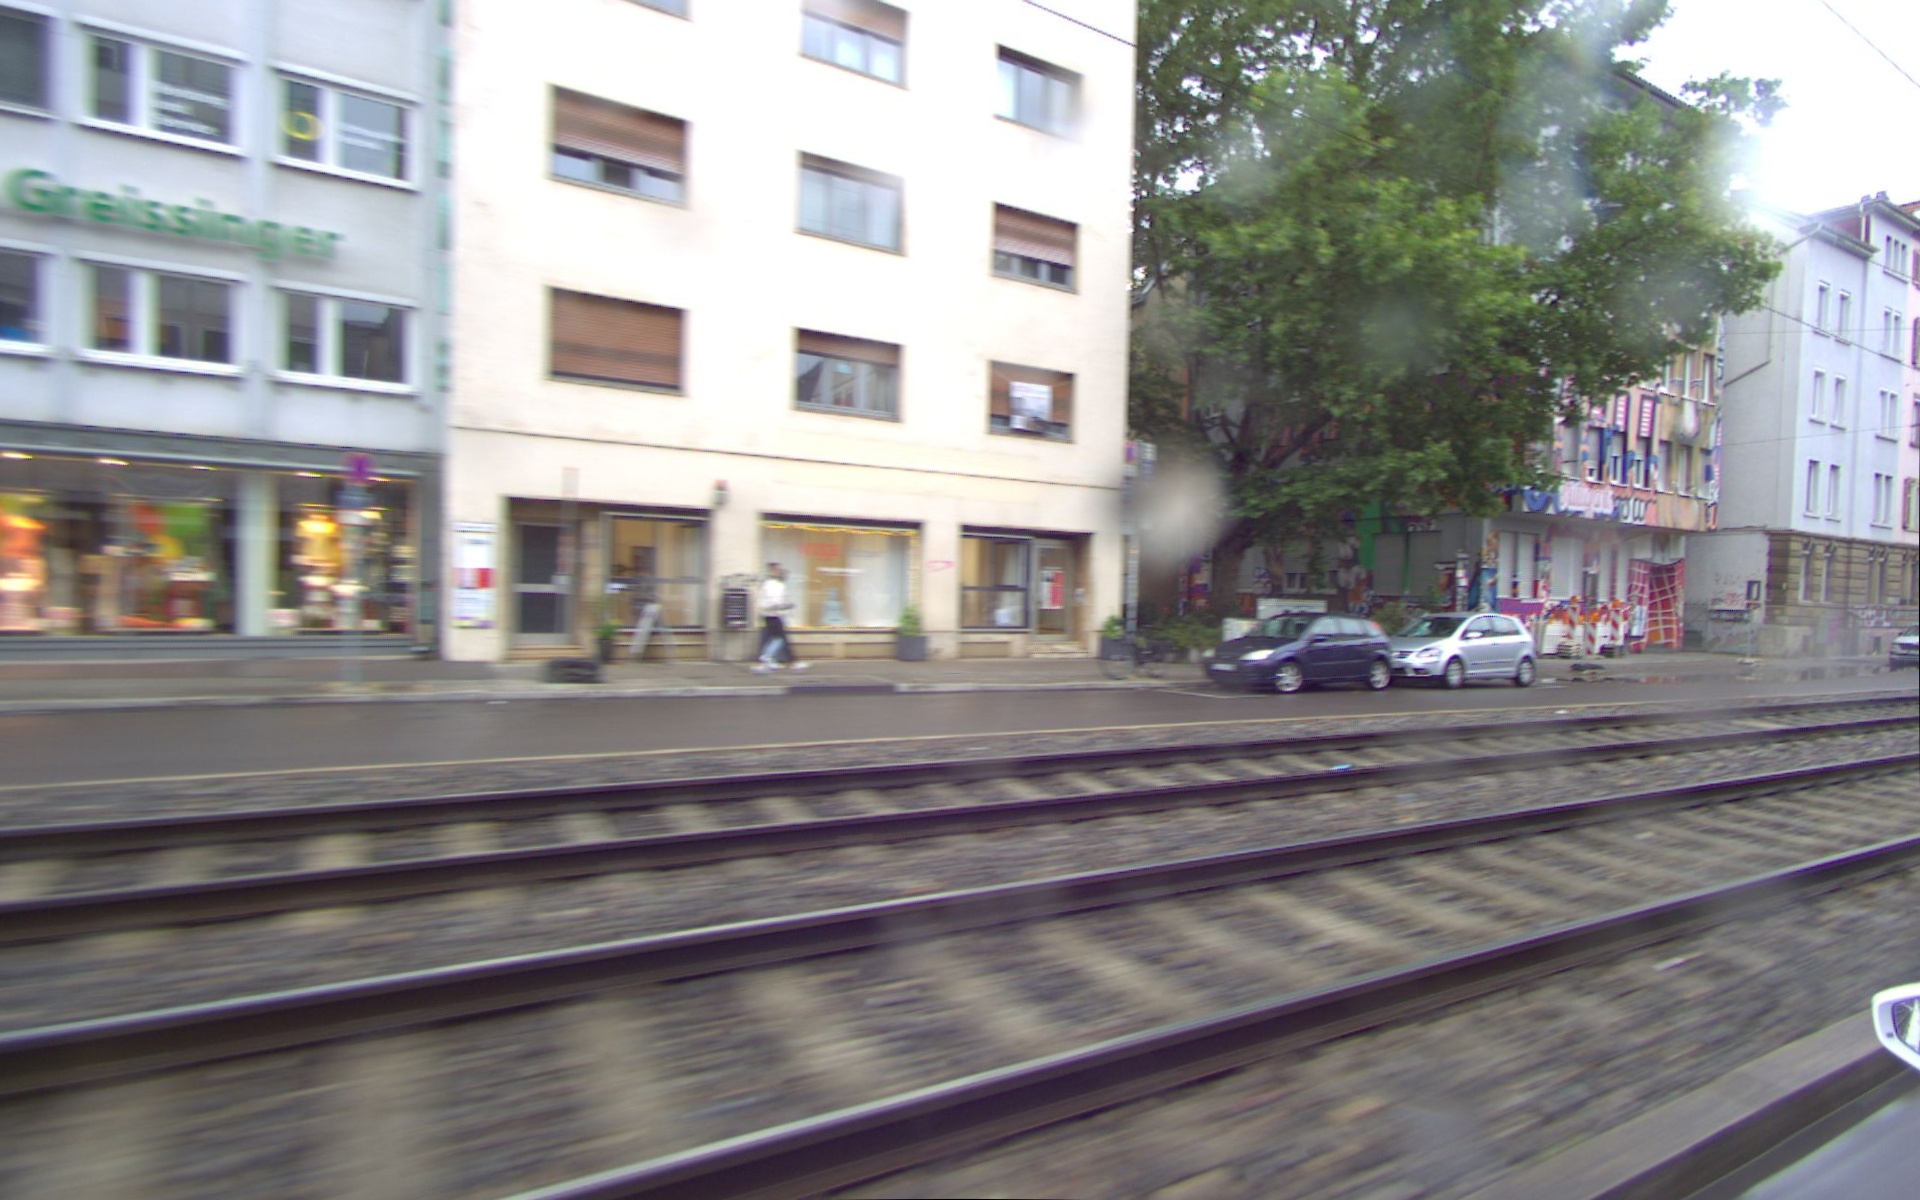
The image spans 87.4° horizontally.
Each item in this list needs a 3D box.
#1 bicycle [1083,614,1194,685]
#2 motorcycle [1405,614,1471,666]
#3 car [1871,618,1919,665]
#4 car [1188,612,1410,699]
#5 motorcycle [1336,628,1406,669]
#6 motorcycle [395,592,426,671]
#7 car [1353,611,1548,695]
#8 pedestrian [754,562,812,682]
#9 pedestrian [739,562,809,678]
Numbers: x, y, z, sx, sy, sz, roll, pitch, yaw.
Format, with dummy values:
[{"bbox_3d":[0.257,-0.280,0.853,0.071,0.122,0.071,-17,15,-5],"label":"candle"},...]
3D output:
[{"bbox_3d":[3.392,0.915,18.964,2.382,1.243,0.586,2,1,-38],"label":"bicycle"},{"bbox_3d":[13.489,1.107,28.334,2.096,1.398,0.635,1,1,-32],"label":"motorcycle"},{"bbox_3d":[34.550,1.464,35.714,4.383,1.539,1.983,1,1,-31],"label":"car"},{"bbox_3d":[6.497,0.995,19.152,4.171,1.488,1.735,1,-1,-31],"label":"car"},{"bbox_3d":[11.123,1.303,27.148,2.096,1.047,0.635,1,1,-32],"label":"motorcycle"},{"bbox_3d":[-8.837,0.476,16.148,0.381,1.196,1.469,1,1,-31],"label":"motorcycle"},{"bbox_3d":[10.512,1.081,21.460,4.171,1.591,1.713,1,1,-31],"label":"car"},{"bbox_3d":[-2.930,0.357,16.611,0.734,1.921,0.675,1,1,-30],"label":"pedestrian"},{"bbox_3d":[-3.185,0.341,17.188,0.971,1.921,0.723,1,1,-30],"label":"pedestrian"}]
